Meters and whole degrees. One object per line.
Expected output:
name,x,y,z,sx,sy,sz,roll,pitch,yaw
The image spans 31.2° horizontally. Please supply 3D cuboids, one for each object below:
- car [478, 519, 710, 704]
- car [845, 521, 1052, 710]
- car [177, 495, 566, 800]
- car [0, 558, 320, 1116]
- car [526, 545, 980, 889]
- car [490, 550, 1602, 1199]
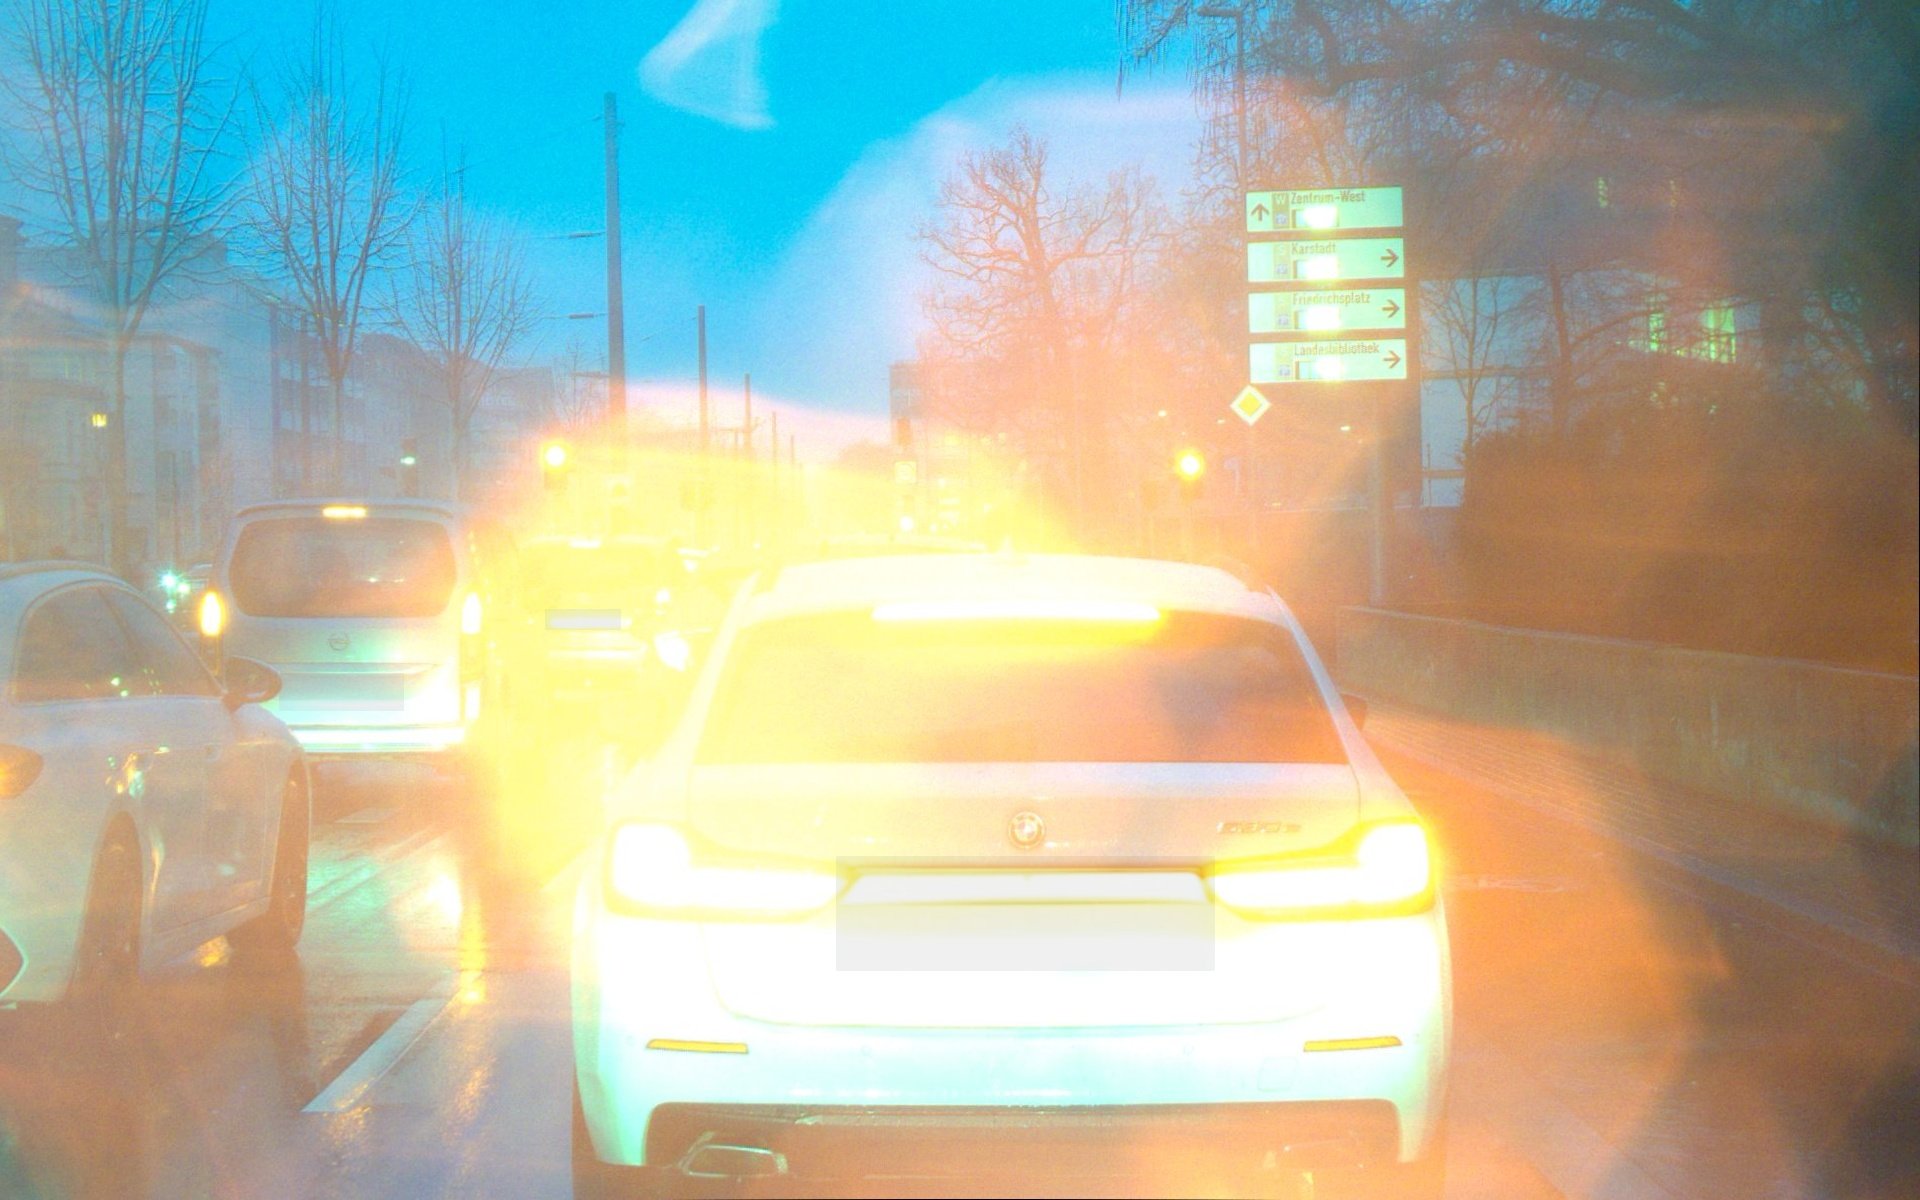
car,-3.396,0.064,32.537,1.806,1.640,4.000,0,1,-1
car,-0.122,0.095,31.944,1.806,1.640,4.000,0,1,-1
car,-3.615,0.242,21.879,1.793,1.730,4.538,0,1,-1
car,-3.326,0.568,10.942,1.846,1.400,4.614,0,1,-2
car,-0.909,0.469,16.800,1.936,1.452,4.164,0,1,-1
car,0.133,0.645,8.277,1.999,1.503,4.164,0,1,-1
